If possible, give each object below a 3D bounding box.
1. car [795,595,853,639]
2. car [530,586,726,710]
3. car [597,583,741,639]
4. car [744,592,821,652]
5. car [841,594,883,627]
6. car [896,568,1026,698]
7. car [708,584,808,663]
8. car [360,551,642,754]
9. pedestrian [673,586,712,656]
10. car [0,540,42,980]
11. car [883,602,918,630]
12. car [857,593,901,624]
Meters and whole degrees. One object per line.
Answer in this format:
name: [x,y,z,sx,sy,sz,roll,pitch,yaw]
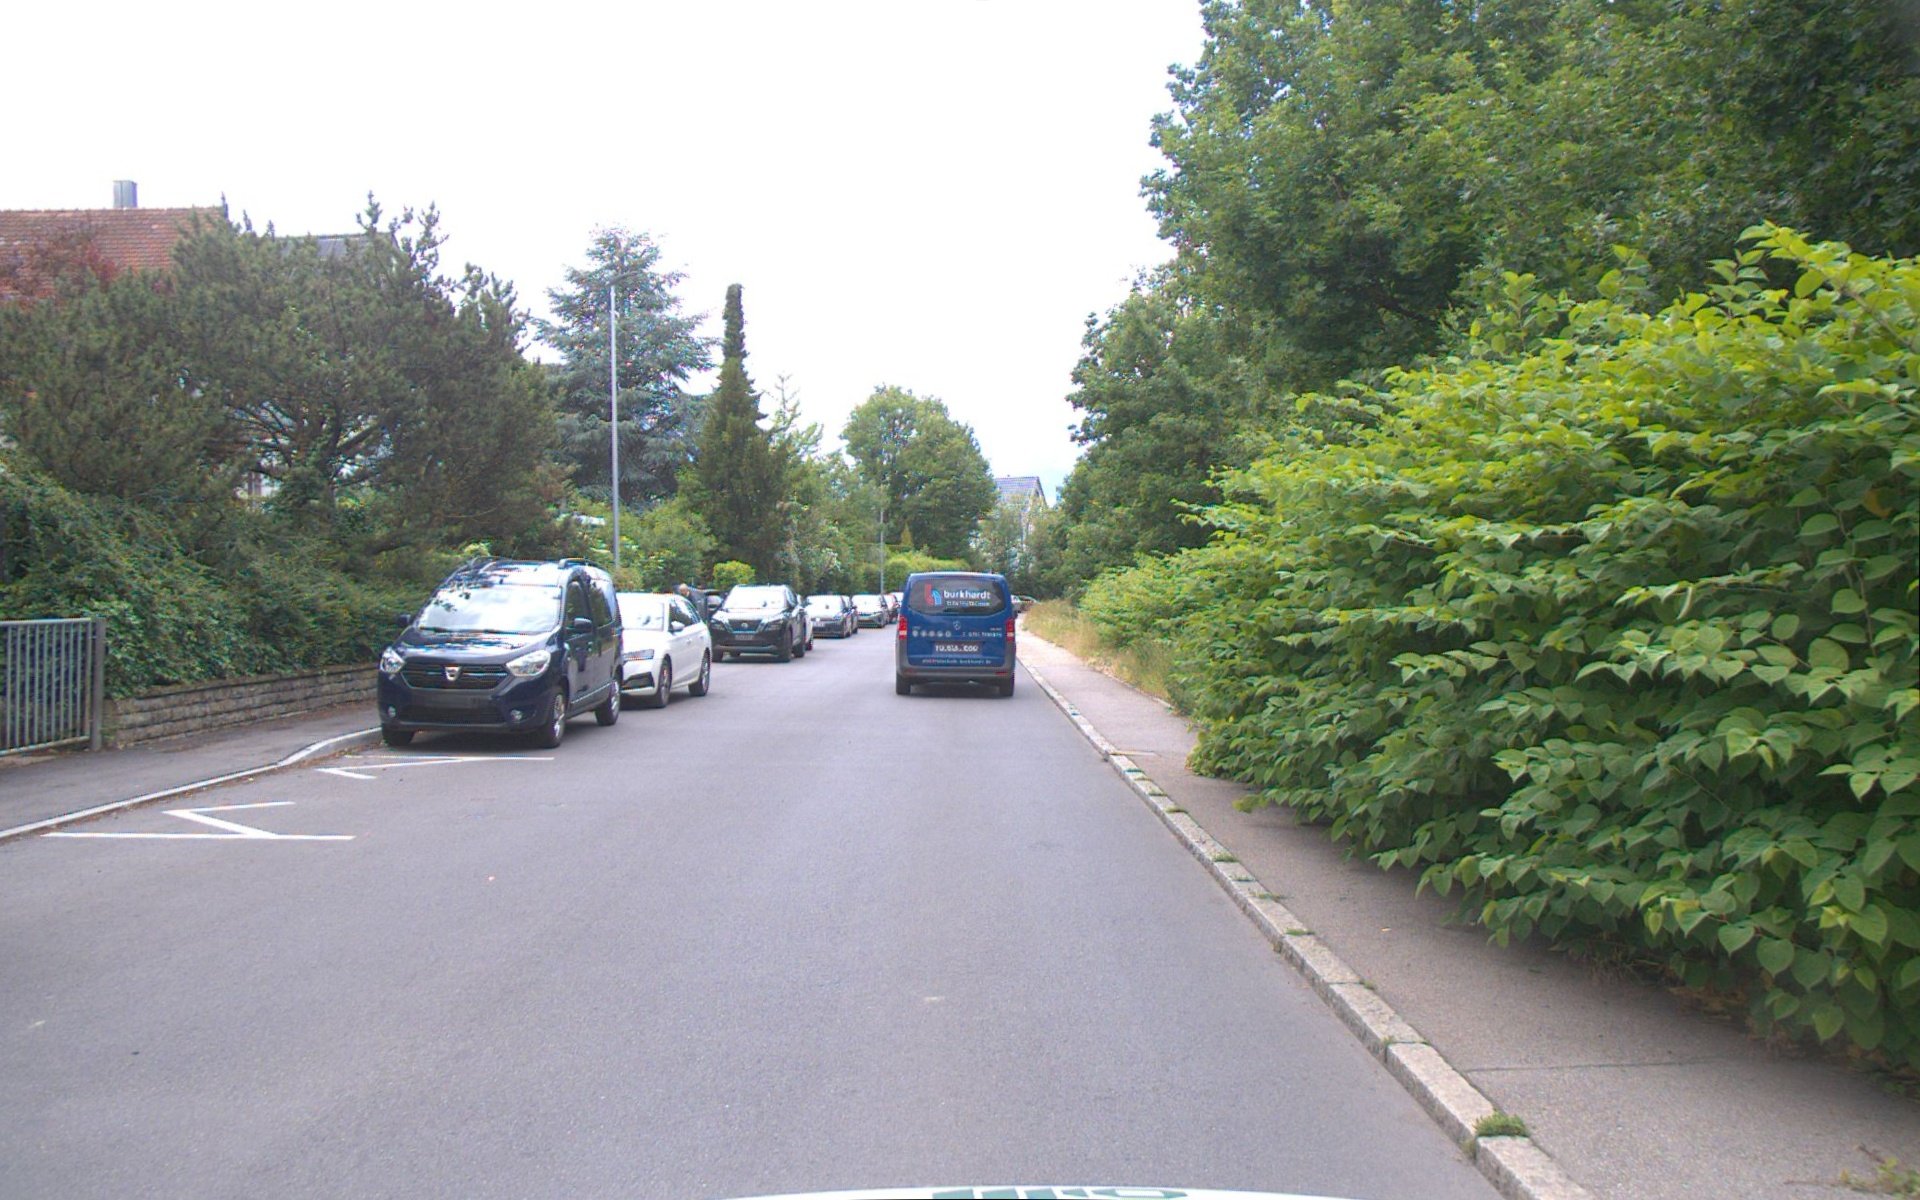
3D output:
car: [-4.675,0.558,57.283,1.672,1.441,4.149,1,0,0]
car: [-4.497,0.596,23.040,1.671,1.538,4.555,1,0,2]
car: [-8.909,0.330,50.745,3.902,1.574,1.843,2,0,14]
car: [-4.754,0.567,44.812,1.672,1.538,3.946,1,0,0]
car: [-4.374,0.452,74.341,1.672,1.434,4.160,1,0,0]
car: [-0.037,0.477,26.762,1.897,1.913,4.529,1,0,-1]
car: [-4.576,0.506,37.982,1.755,1.693,4.391,1,0,0]
car: [-4.595,0.466,17.225,1.672,1.831,4.298,1,0,1]
pedestrian: [-6.223,0.483,38.469,0.753,1.602,0.820,1,0,1]
car: [-4.428,0.595,4.016,1.759,1.635,4.730,1,0,0]
car: [-3.344,0.884,93.131,1.511,1.541,3.646,1,0,5]
car: [-4.159,0.440,85.306,1.671,1.541,4.366,1,0,5]
